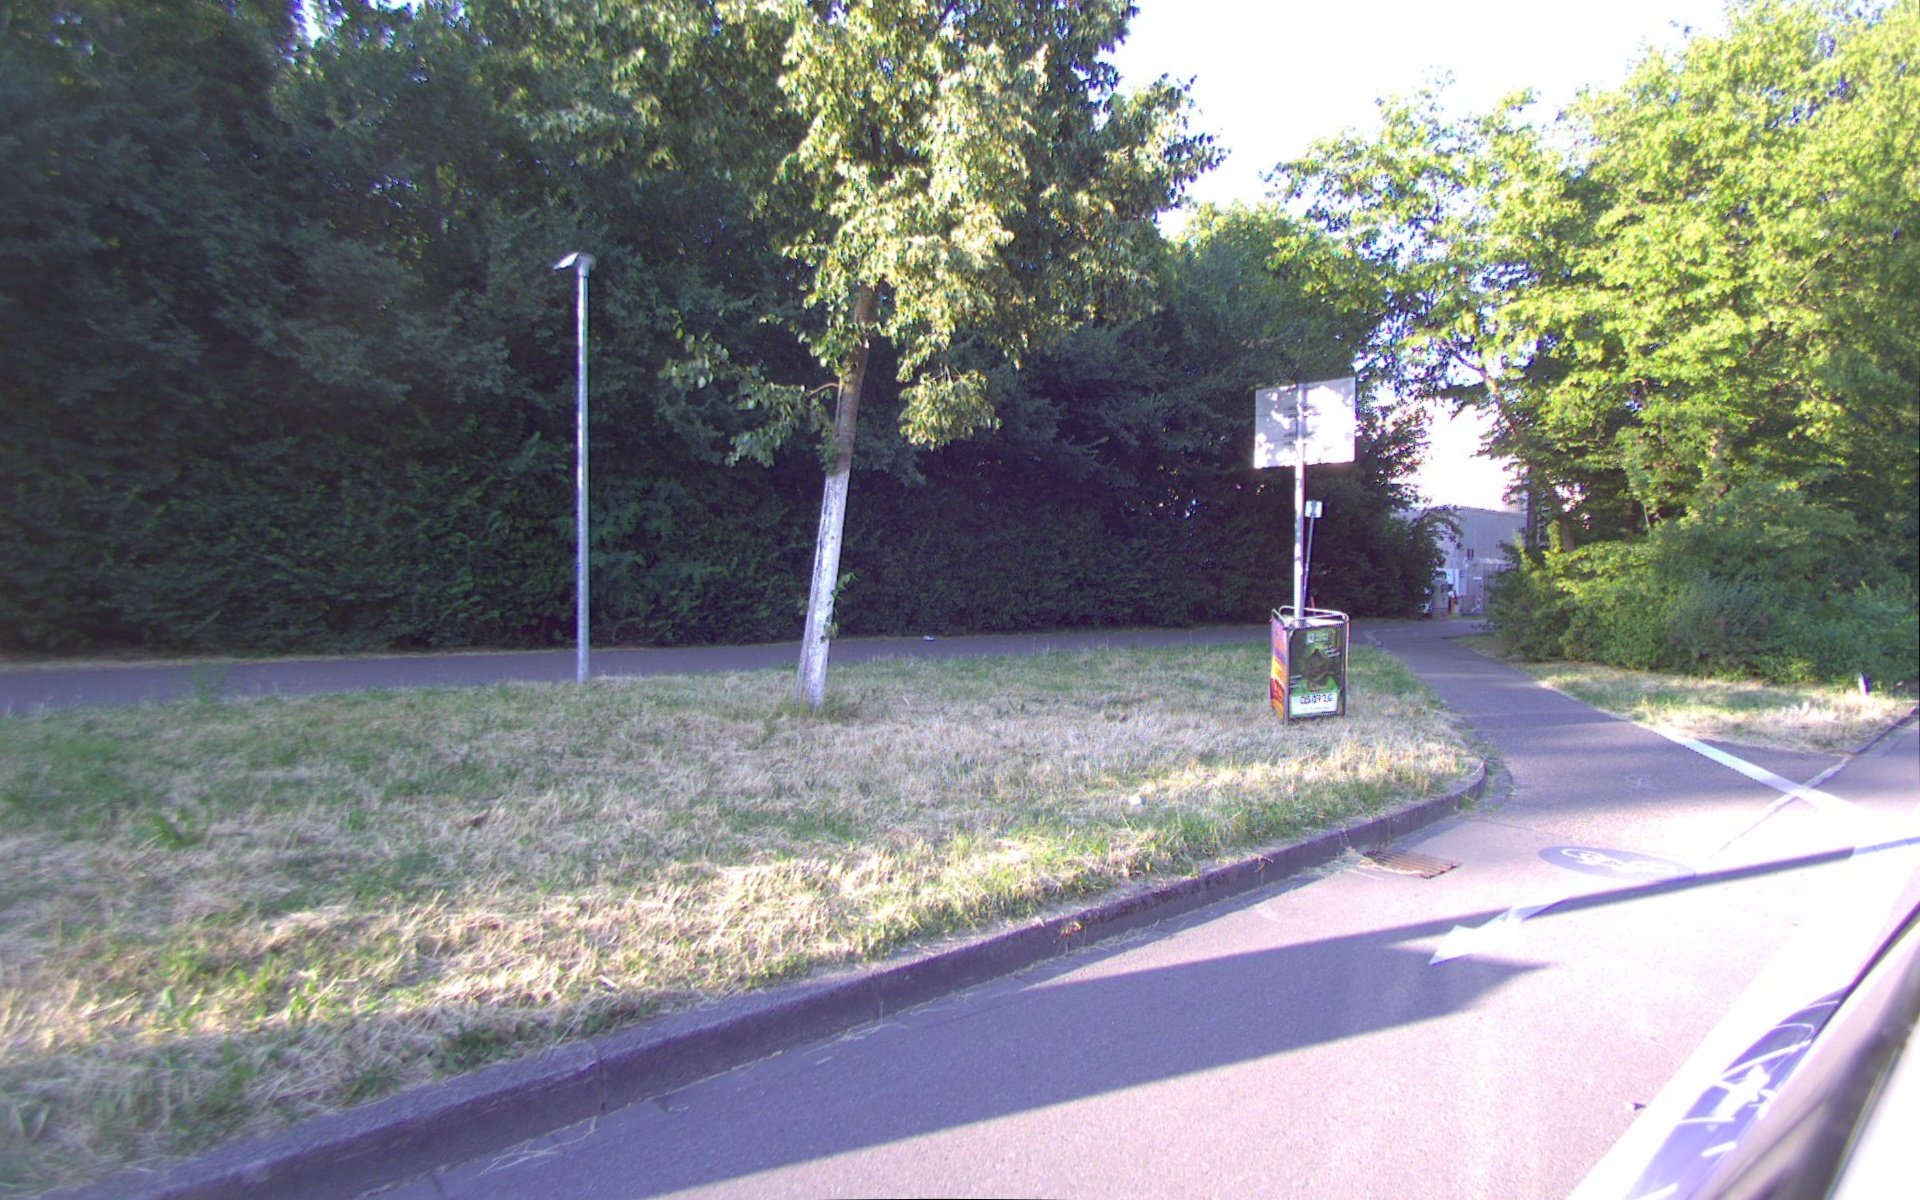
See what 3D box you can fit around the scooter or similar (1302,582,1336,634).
[{"bbox_3d":[7.783,0.173,21.940,0.819,1.100,0.194,1,-1,-26],"label":"scooter or similar"}]
